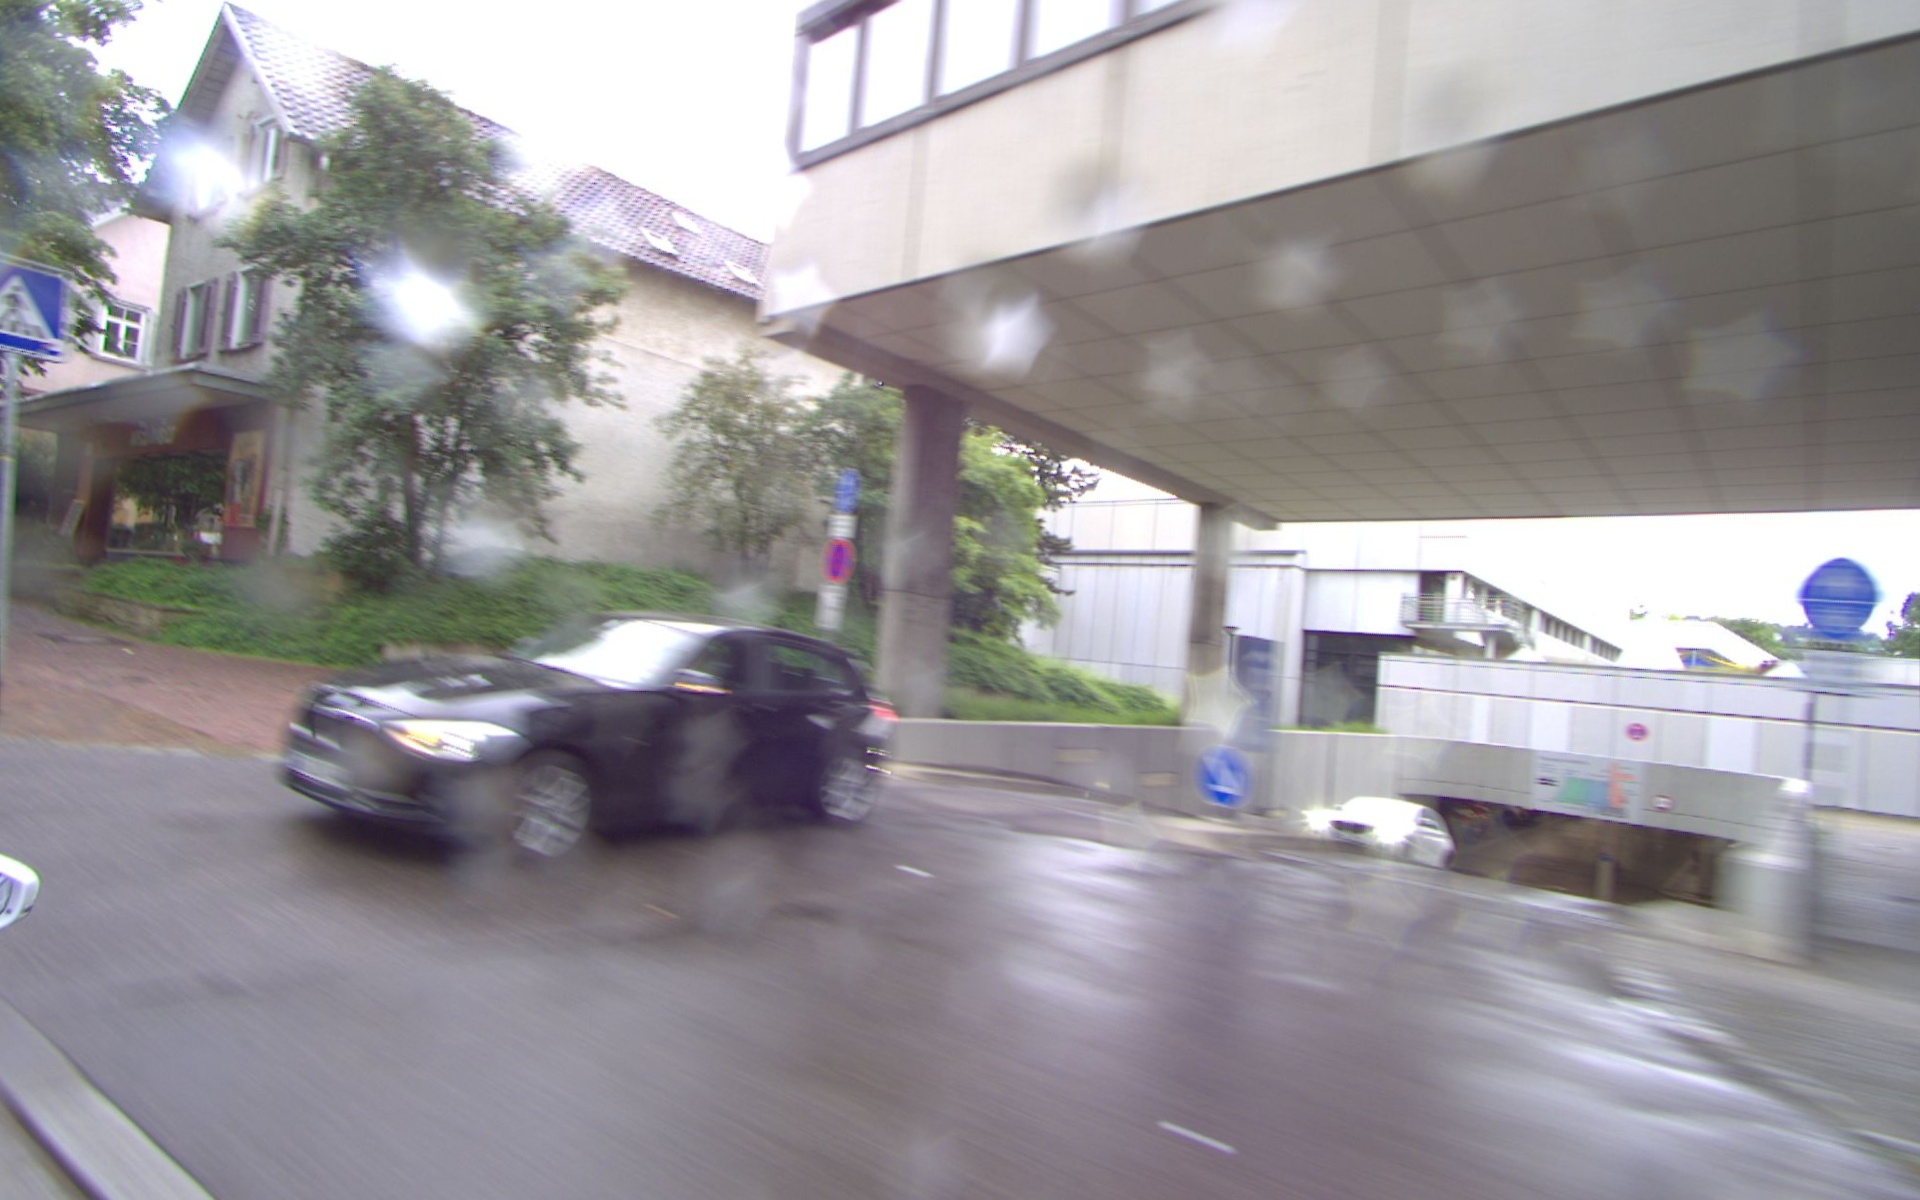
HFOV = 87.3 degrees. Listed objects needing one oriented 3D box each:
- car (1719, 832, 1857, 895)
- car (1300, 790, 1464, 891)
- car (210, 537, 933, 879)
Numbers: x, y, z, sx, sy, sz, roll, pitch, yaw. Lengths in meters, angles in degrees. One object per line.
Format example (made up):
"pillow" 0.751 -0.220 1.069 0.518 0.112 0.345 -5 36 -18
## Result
"car" 31.841 10.095 38.735 3.949 1.421 1.612 3 -3 43
"car" 8.458 4.674 19.999 1.720 1.457 3.985 5 -5 42
"car" -2.160 0.721 6.889 1.809 1.432 4.295 7 -3 31
